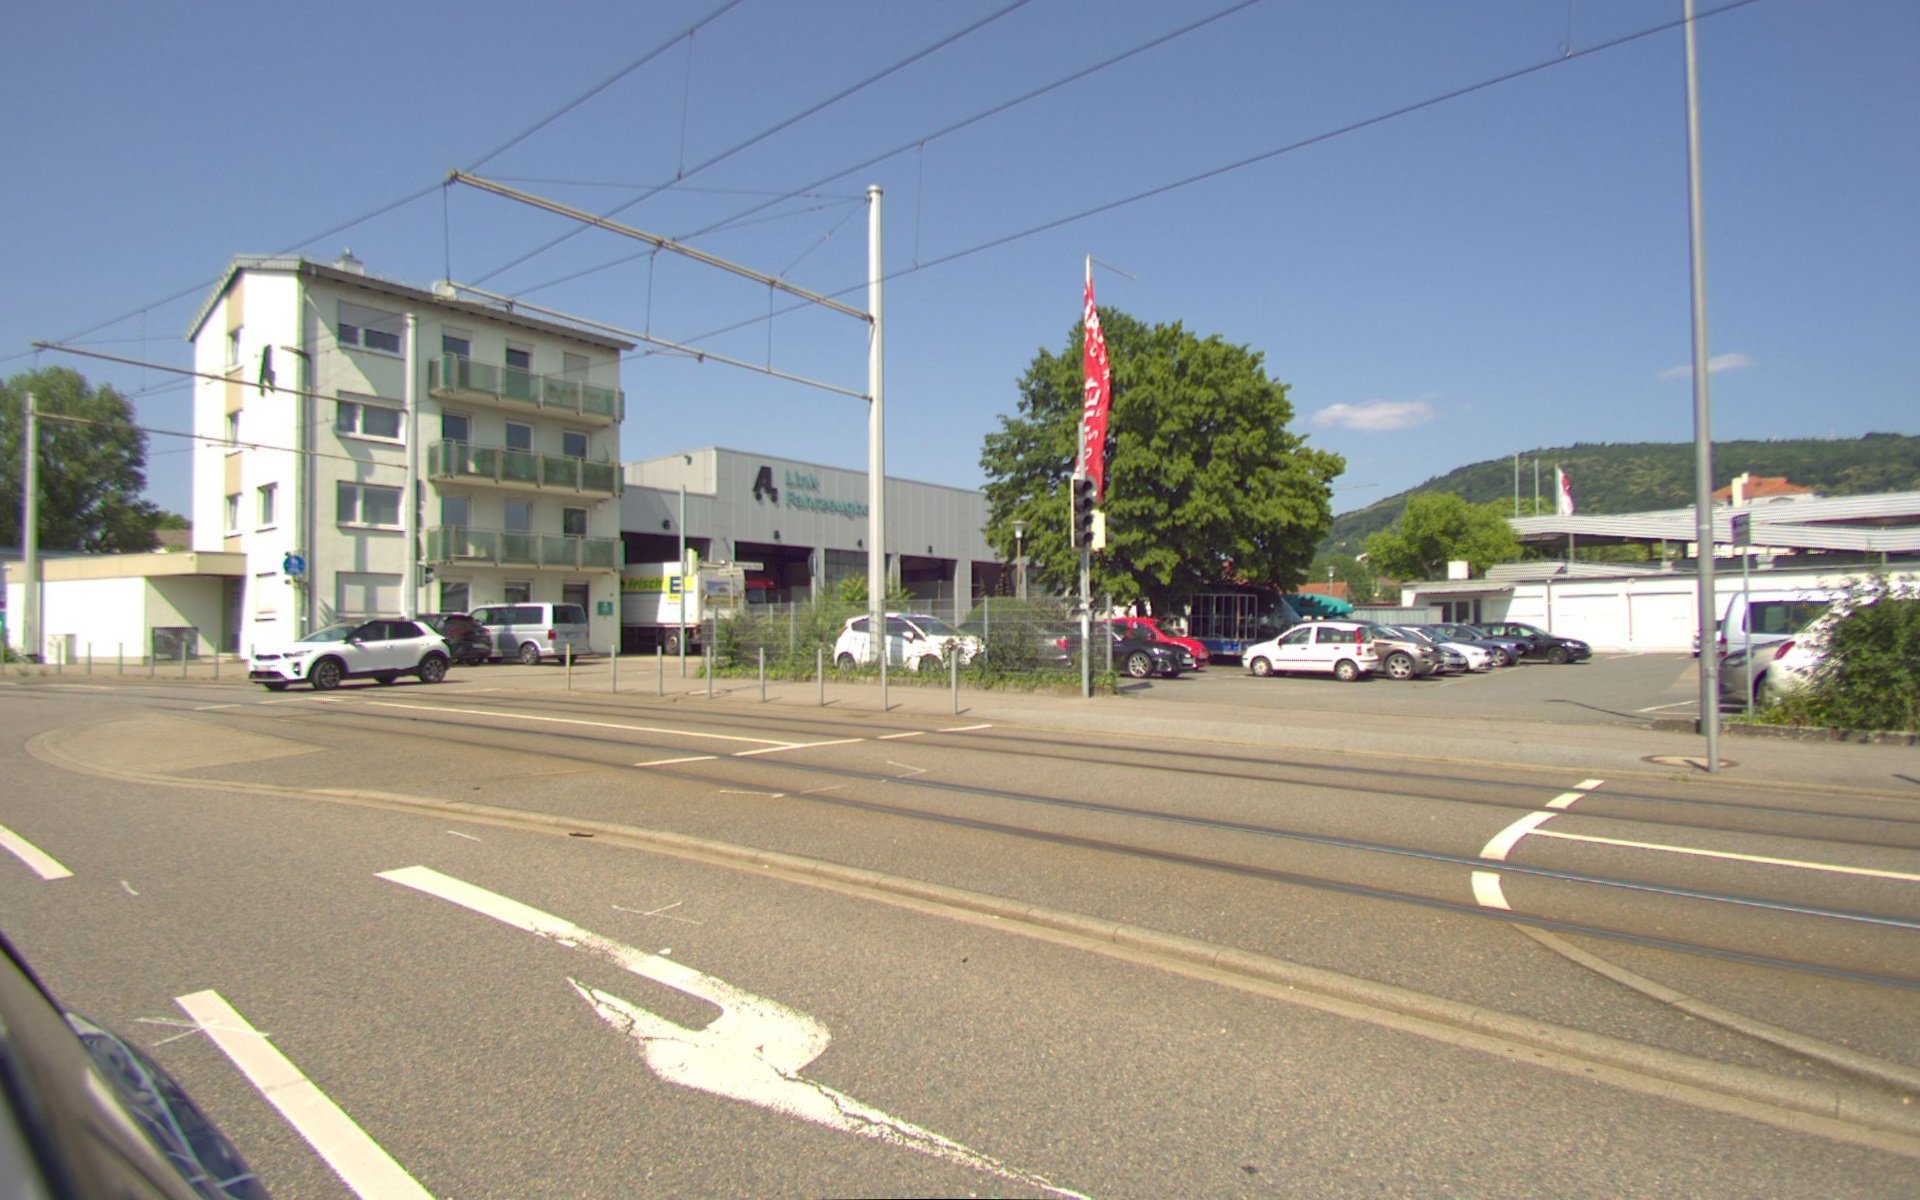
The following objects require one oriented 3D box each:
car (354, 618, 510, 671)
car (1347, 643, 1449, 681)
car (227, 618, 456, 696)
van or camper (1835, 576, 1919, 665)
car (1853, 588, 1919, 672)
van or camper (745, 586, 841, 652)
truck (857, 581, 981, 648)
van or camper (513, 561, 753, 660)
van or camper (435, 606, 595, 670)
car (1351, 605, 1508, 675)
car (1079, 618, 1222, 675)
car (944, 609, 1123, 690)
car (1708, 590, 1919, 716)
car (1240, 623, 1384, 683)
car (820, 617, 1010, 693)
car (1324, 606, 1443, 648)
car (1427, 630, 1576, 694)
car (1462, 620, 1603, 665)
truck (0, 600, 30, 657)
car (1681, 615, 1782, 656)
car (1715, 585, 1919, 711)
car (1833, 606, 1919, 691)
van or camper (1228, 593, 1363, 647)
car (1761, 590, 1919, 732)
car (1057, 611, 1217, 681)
[{"bbox_3d":[-15.861,1.324,30.464,3.936,1.532,1.871,-1,-2,15],"label":"car"},{"bbox_3d":[12.007,1.676,27.789,2.314,0.953,1.273,-2,-2,39],"label":"car"},{"bbox_3d":[-13.451,1.178,22.281,1.727,1.542,4.077,-1,-2,23],"label":"car"},{"bbox_3d":[25.990,0.511,26.405,1.755,2.323,4.605,0,-2,-44],"label":"van or camper"},{"bbox_3d":[24.617,0.703,24.262,2.026,2.029,4.585,1,-2,-42],"label":"car"},{"bbox_3d":[-8.621,1.025,52.050,5.051,3.230,1.975,-2,-2,37],"label":"van or camper"},{"bbox_3d":[-2.554,0.927,61.238,7.855,3.810,2.589,-1,-2,40],"label":"truck"},{"bbox_3d":[-13.867,0.538,42.217,11.598,3.721,2.751,-1,-2,32],"label":"van or camper"},{"bbox_3d":[-14.155,1.194,32.244,4.520,1.922,1.987,0,-2,19],"label":"van or camper"},{"bbox_3d":[14.923,1.298,32.292,1.969,2.029,4.004,0,-4,-42],"label":"car"},{"bbox_3d":[5.727,1.372,30.620,3.833,1.605,1.832,-2,-2,40],"label":"car"},{"bbox_3d":[1.570,1.155,22.780,1.742,1.634,3.841,0,-4,-41],"label":"car"},{"bbox_3d":[12.548,0.677,13.379,1.828,1.580,3.941,1,-2,-41],"label":"car"},{"bbox_3d":[9.493,1.386,27.429,3.388,1.496,1.497,-1,-1,41],"label":"car"},{"bbox_3d":[-1.009,1.083,21.295,3.953,1.444,1.690,-1,-1,41],"label":"car"},{"bbox_3d":[16.887,1.081,40.441,3.998,1.567,1.973,-2,-2,41],"label":"car"},{"bbox_3d":[18.679,2.167,35.016,1.969,2.029,4.004,0,-4,-42],"label":"car"},{"bbox_3d":[20.687,1.520,36.662,1.969,1.523,4.005,1,-2,-42],"label":"car"},{"bbox_3d":[-45.608,1.300,45.747,2.178,2.646,4.791,-1,-2,26],"label":"truck"},{"bbox_3d":[28.570,1.302,37.442,3.935,1.427,2.004,1,-2,-38],"label":"car"},{"bbox_3d":[14.151,0.705,15.320,1.969,1.798,4.006,1,-2,-40],"label":"car"},{"bbox_3d":[16.777,0.770,16.182,1.818,1.369,4.006,1,-2,-40],"label":"car"},{"bbox_3d":[13.185,0.823,39.985,1.969,2.023,4.649,1,-2,-42],"label":"van or camper"},{"bbox_3d":[11.468,0.661,11.191,1.714,1.553,3.841,1,-2,-42],"label":"car"},{"bbox_3d":[4.466,1.181,26.020,1.826,1.633,3.845,4,-4,-36],"label":"car"}]
